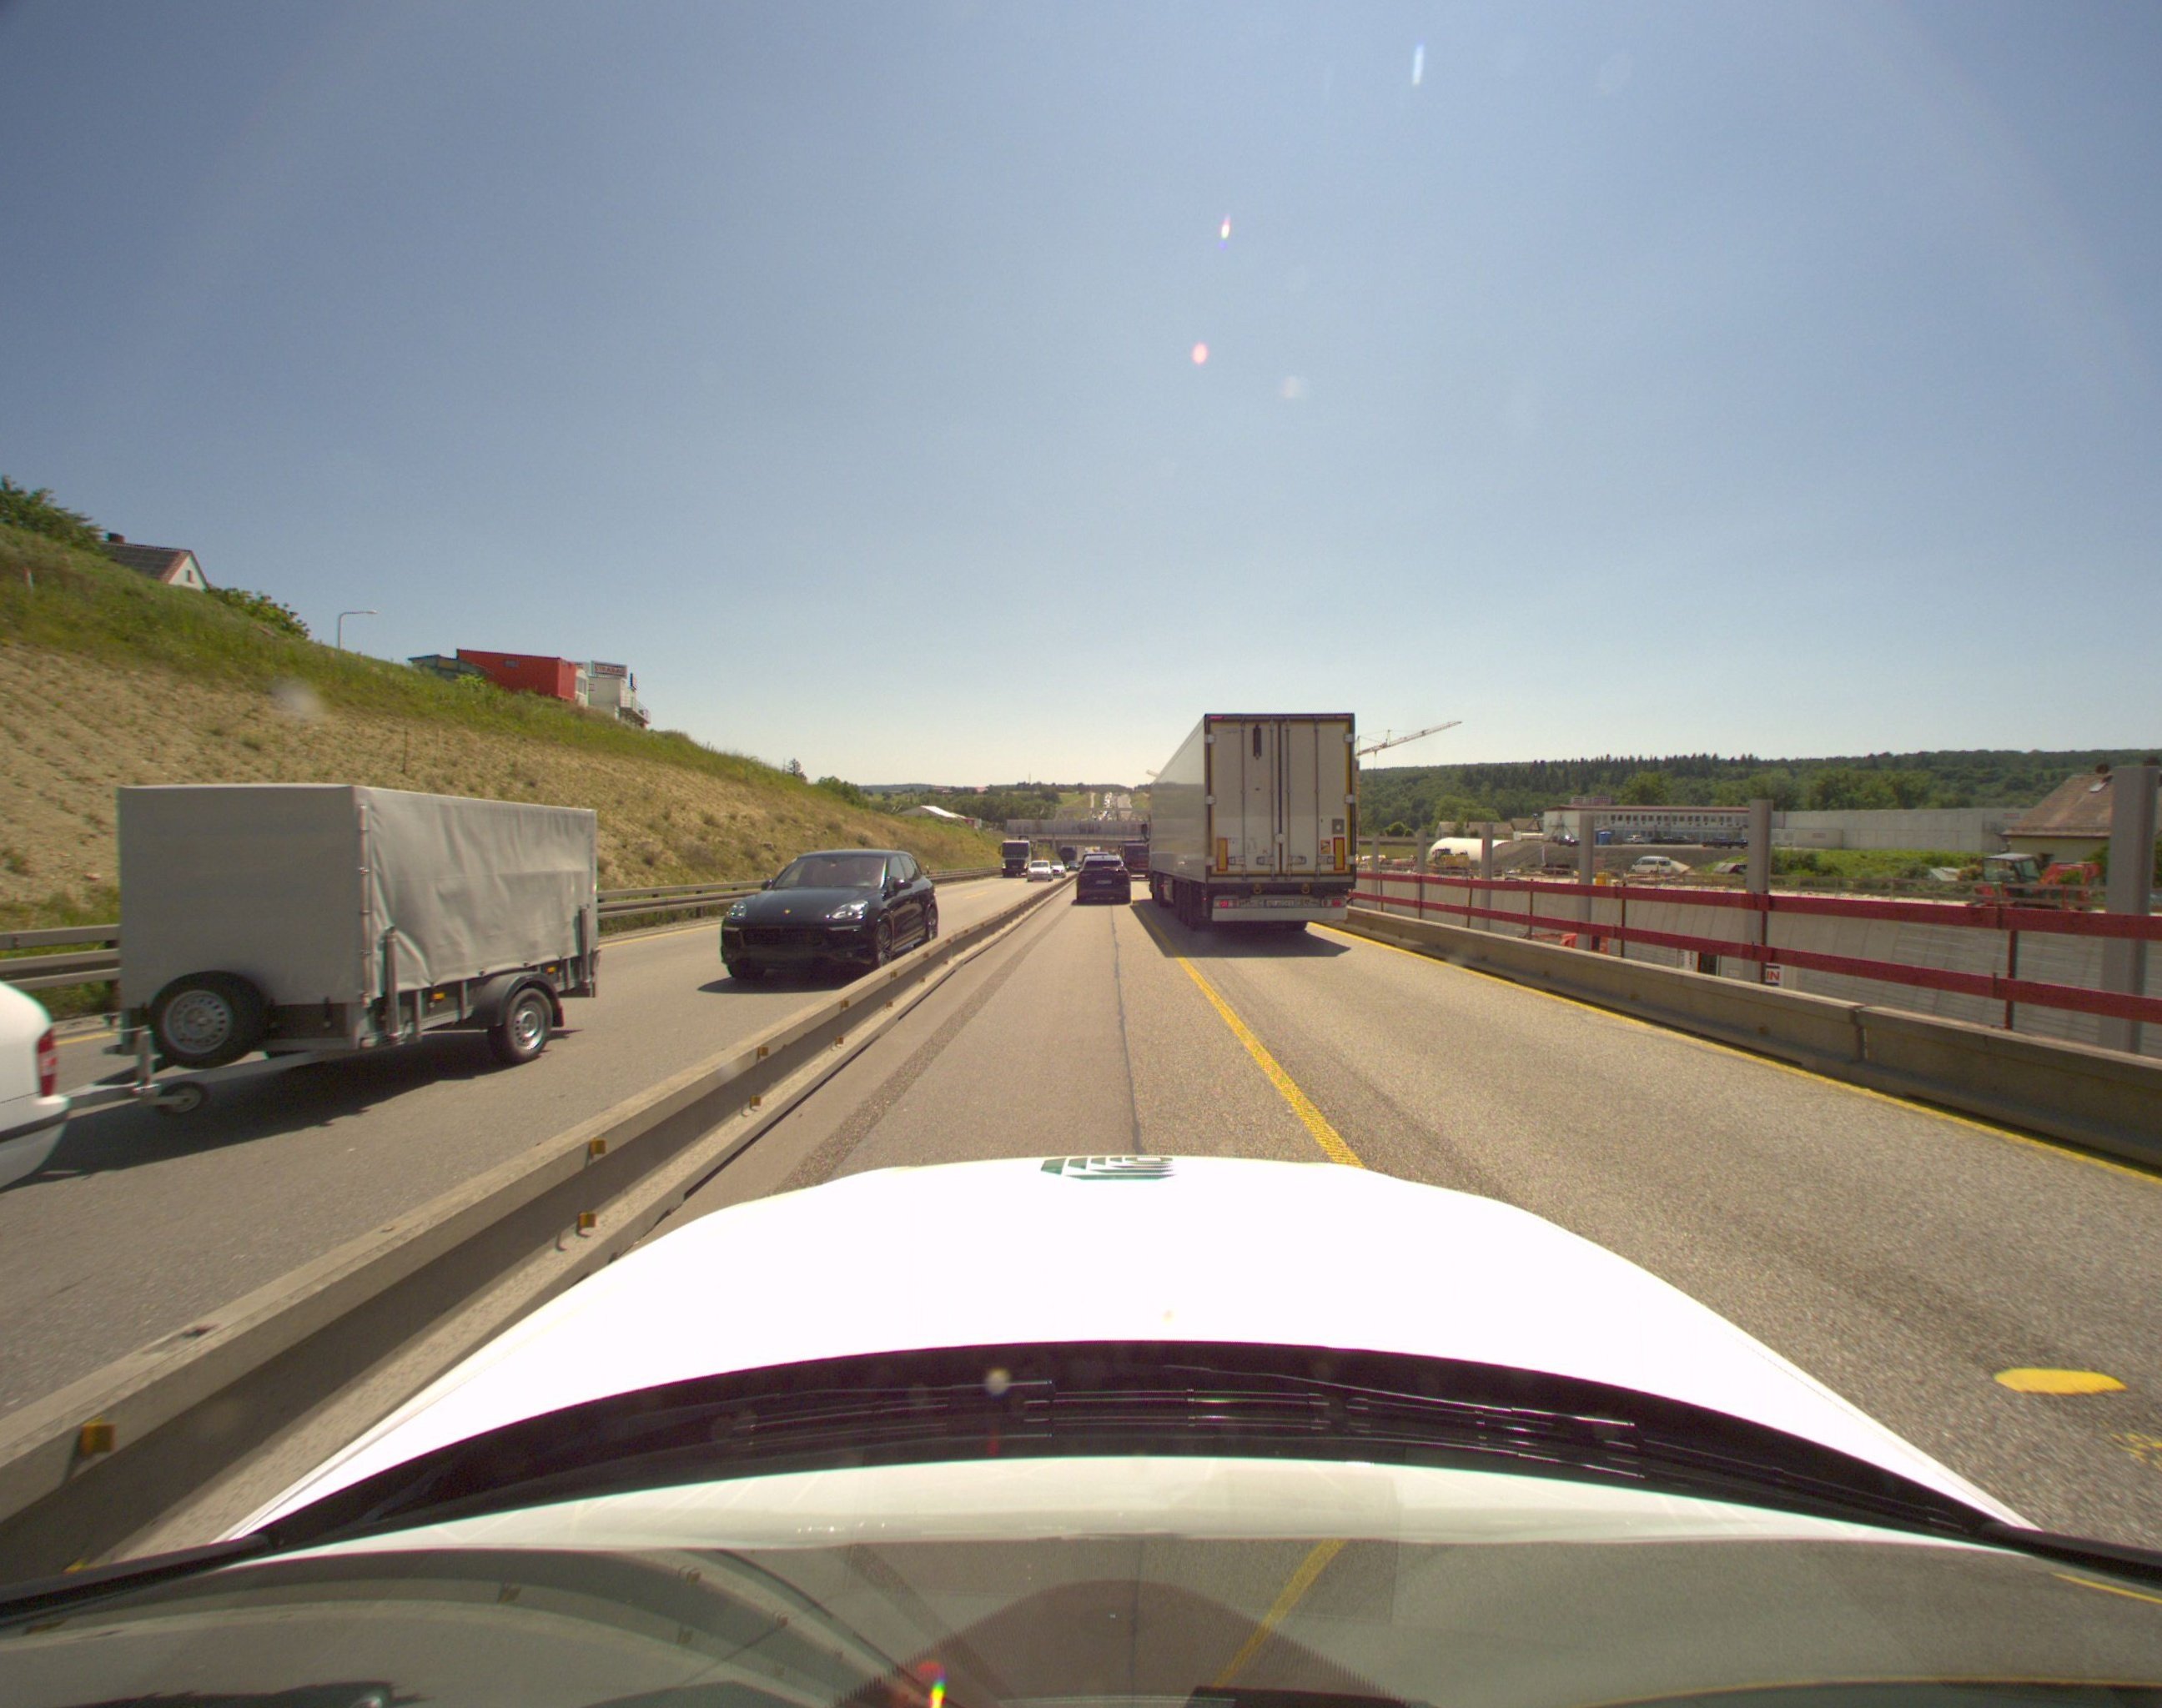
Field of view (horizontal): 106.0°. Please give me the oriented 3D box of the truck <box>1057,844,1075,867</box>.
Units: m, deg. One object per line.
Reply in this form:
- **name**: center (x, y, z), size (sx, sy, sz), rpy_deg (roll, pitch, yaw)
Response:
- **truck**: center (-2.568, 0.295, 138.476), size (2.757, 3.884, 4.965), rpy_deg (0, -1, 1)

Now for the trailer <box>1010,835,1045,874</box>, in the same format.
- **trailer**: center (-5.222, 0.064, 81.306), size (2.577, 3.637, 9.081), rpy_deg (-1, 0, 2)

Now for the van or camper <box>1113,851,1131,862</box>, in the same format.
- **van or camper**: center (12.789, 0.833, 252.434), size (3.942, 3.419, 8.380), rpy_deg (0, 0, -9)

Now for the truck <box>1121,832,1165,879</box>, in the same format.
- **truck**: center (4.484, 0.151, 61.065), size (2.803, 3.135, 12.844), rpy_deg (-1, 0, 2)

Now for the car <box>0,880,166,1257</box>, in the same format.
- **car**: center (-4.923, 0.834, 1.644), size (1.642, 1.415, 3.998), rpy_deg (-1, 0, -1)

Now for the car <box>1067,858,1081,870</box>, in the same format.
- **car**: center (-0.923, 1.309, 106.634), size (1.679, 1.430, 3.850), rpy_deg (-1, 0, 0)

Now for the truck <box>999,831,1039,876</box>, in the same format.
- **truck**: center (-5.436, 0.005, 73.284), size (2.577, 3.723, 9.335), rpy_deg (-1, 0, 2)

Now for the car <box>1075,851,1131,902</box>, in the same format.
- **car**: center (0.770, 0.728, 27.906), size (1.794, 1.620, 3.299), rpy_deg (0, 0, 1)

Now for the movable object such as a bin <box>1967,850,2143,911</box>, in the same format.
- **movable object such as a bin**: center (37.907, 0.981, 31.884), size (1.986, 2.239, 4.154), rpy_deg (0, 0, 2)

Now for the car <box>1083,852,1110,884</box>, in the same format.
- **car**: center (0.931, 0.780, 48.092), size (1.469, 1.795, 3.299), rpy_deg (-1, 0, 2)

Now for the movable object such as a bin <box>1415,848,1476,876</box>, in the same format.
- **movable object such as a bin**: center (40.370, 0.863, 90.561), size (2.876, 2.909, 9.484), rpy_deg (0, 0, 2)

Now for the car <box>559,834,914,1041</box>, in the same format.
- **car**: center (-3.388, 0.715, 9.169), size (1.883, 1.708, 4.563), rpy_deg (-1, 0, 2)

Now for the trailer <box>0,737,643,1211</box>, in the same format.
- **trailer**: center (-4.991, 0.530, 5.620), size (1.642, 2.025, 4.268), rpy_deg (-1, 0, -1)

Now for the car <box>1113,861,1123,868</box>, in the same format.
- **car**: center (6.053, 1.704, 133.469), size (1.534, 1.206, 3.310), rpy_deg (-1, 0, -1)

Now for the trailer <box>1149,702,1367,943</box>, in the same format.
- **trailer**: center (3.589, -0.482, 20.853), size (2.791, 4.058, 14.120), rpy_deg (-1, -1, 1)

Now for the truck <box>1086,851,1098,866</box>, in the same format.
- **truck**: center (2.188, 0.921, 165.002), size (2.259, 2.882, 5.853), rpy_deg (-1, -1, 2)

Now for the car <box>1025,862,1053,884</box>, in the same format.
- **car**: center (-2.891, 1.273, 56.367), size (1.679, 1.430, 3.292), rpy_deg (-1, 0, 0)

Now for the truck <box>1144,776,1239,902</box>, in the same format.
- **truck**: center (3.783, -0.465, 28.866), size (2.766, 4.058, 4.905), rpy_deg (-1, -1, 1)

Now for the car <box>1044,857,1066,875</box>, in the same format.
- **car**: center (-2.112, 0.953, 67.559), size (1.679, 1.430, 4.122), rpy_deg (-1, 0, 0)
